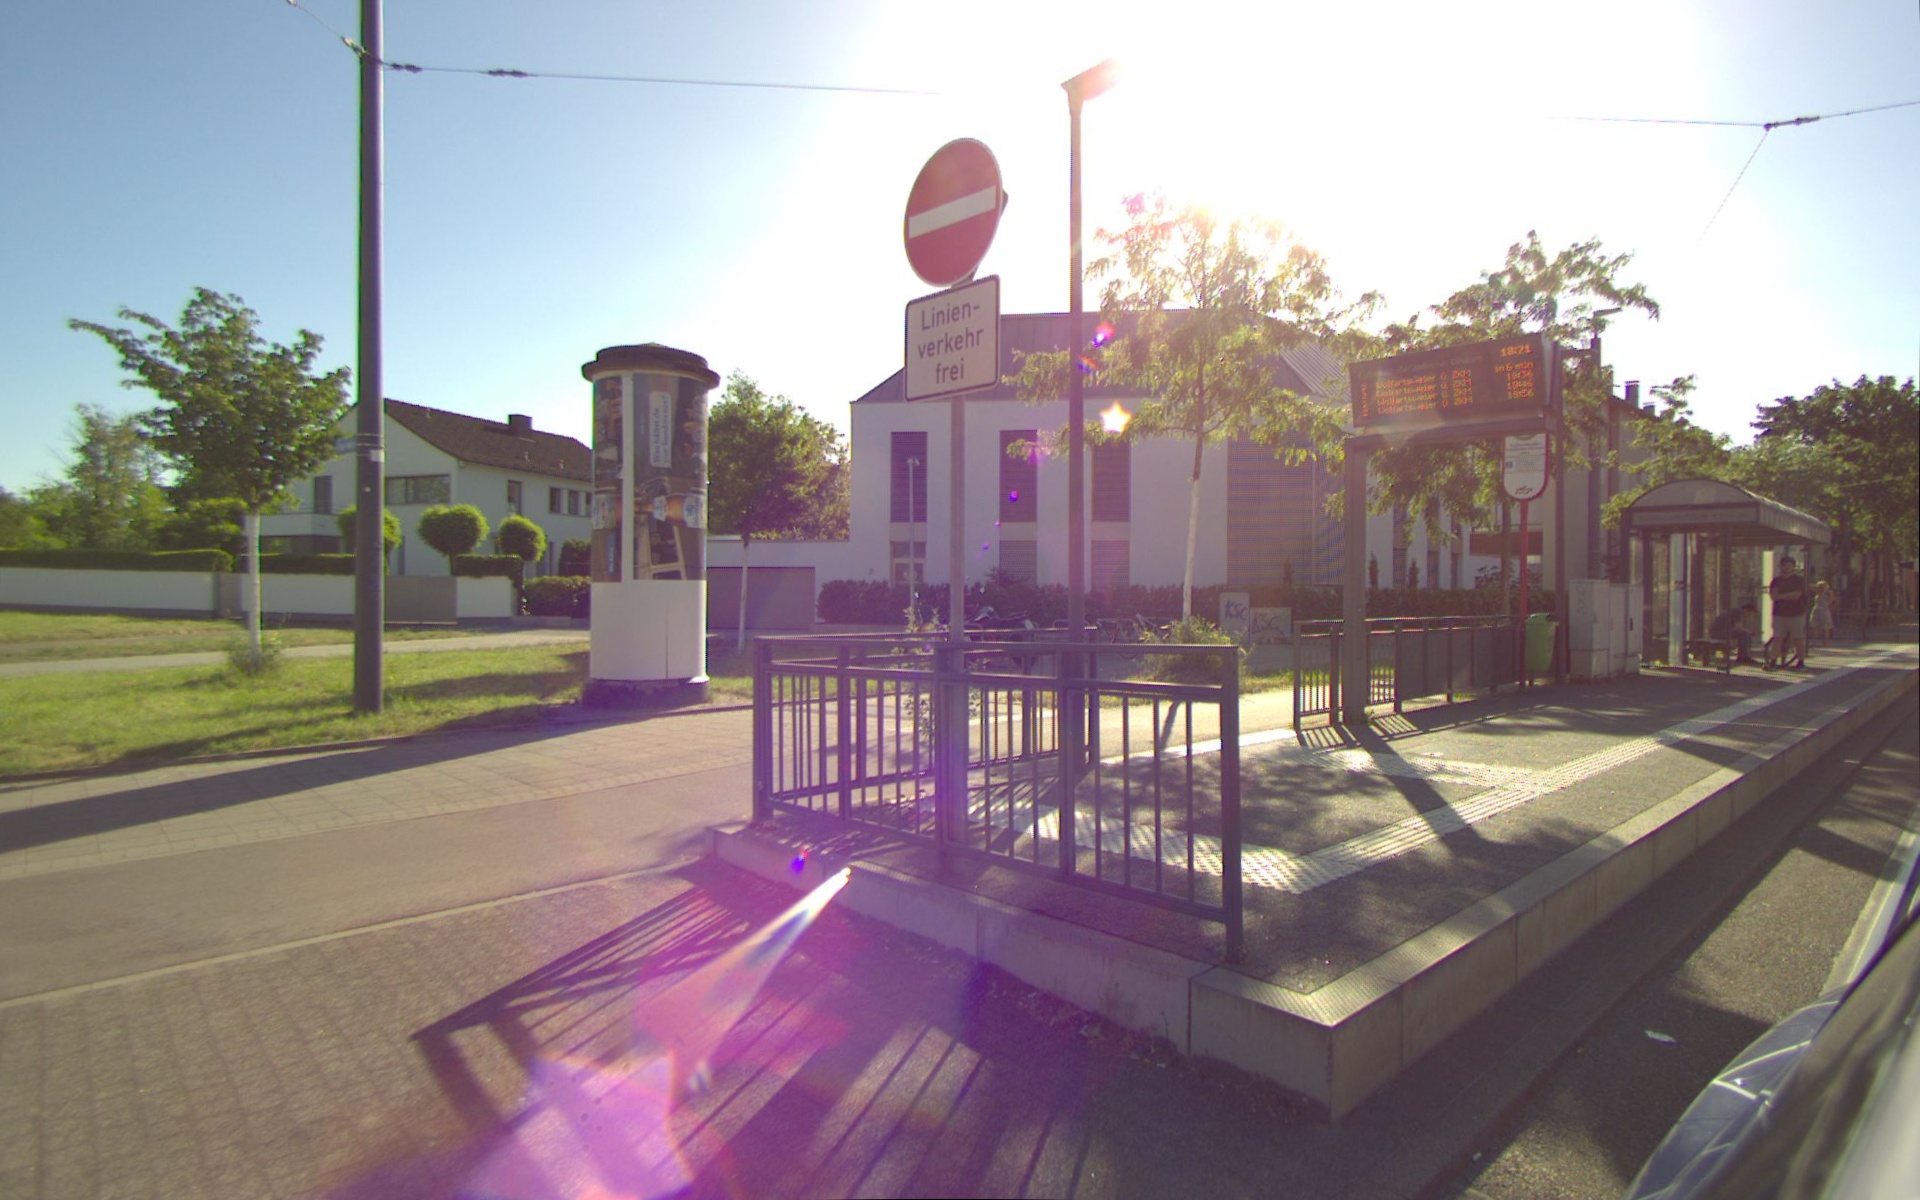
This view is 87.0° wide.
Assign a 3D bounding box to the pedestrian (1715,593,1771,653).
[{"bbox_3d":[14.994,0.431,19.376,0.647,1.131,0.739,0,-1,-43],"label":"pedestrian"}]

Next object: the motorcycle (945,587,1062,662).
[{"bbox_3d":[0.780,0.411,18.560,2.076,1.290,0.849,1,1,42],"label":"motorcycle"}]

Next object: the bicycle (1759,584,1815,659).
[{"bbox_3d":[14.635,0.356,17.894,0.619,1.245,1.936,-1,0,43],"label":"bicycle"}]

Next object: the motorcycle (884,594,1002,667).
[{"bbox_3d":[-0.318,0.494,17.521,1.997,1.172,0.849,1,1,42],"label":"motorcycle"}]

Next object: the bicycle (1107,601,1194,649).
[{"bbox_3d":[4.141,0.526,22.154,1.896,0.991,0.484,1,1,42],"label":"bicycle"}]

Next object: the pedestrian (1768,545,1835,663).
[{"bbox_3d":[13.764,0.065,16.556,0.716,1.877,0.712,0,-1,-41],"label":"pedestrian"}]

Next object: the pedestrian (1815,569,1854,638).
[{"bbox_3d":[22.246,0.088,25.748,0.679,1.726,0.672,0,-1,-43],"label":"pedestrian"}]

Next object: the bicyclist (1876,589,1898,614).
[{"bbox_3d":[57.411,0.102,62.662,1.235,1.519,0.818,0,0,-39],"label":"bicyclist"}]

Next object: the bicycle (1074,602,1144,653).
[{"bbox_3d":[3.097,0.556,21.124,1.469,0.991,0.409,1,1,42],"label":"bicycle"}]

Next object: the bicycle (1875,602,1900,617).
[{"bbox_3d":[57.440,0.598,62.689,2.158,0.897,0.827,0,0,-39],"label":"bicycle"}]
